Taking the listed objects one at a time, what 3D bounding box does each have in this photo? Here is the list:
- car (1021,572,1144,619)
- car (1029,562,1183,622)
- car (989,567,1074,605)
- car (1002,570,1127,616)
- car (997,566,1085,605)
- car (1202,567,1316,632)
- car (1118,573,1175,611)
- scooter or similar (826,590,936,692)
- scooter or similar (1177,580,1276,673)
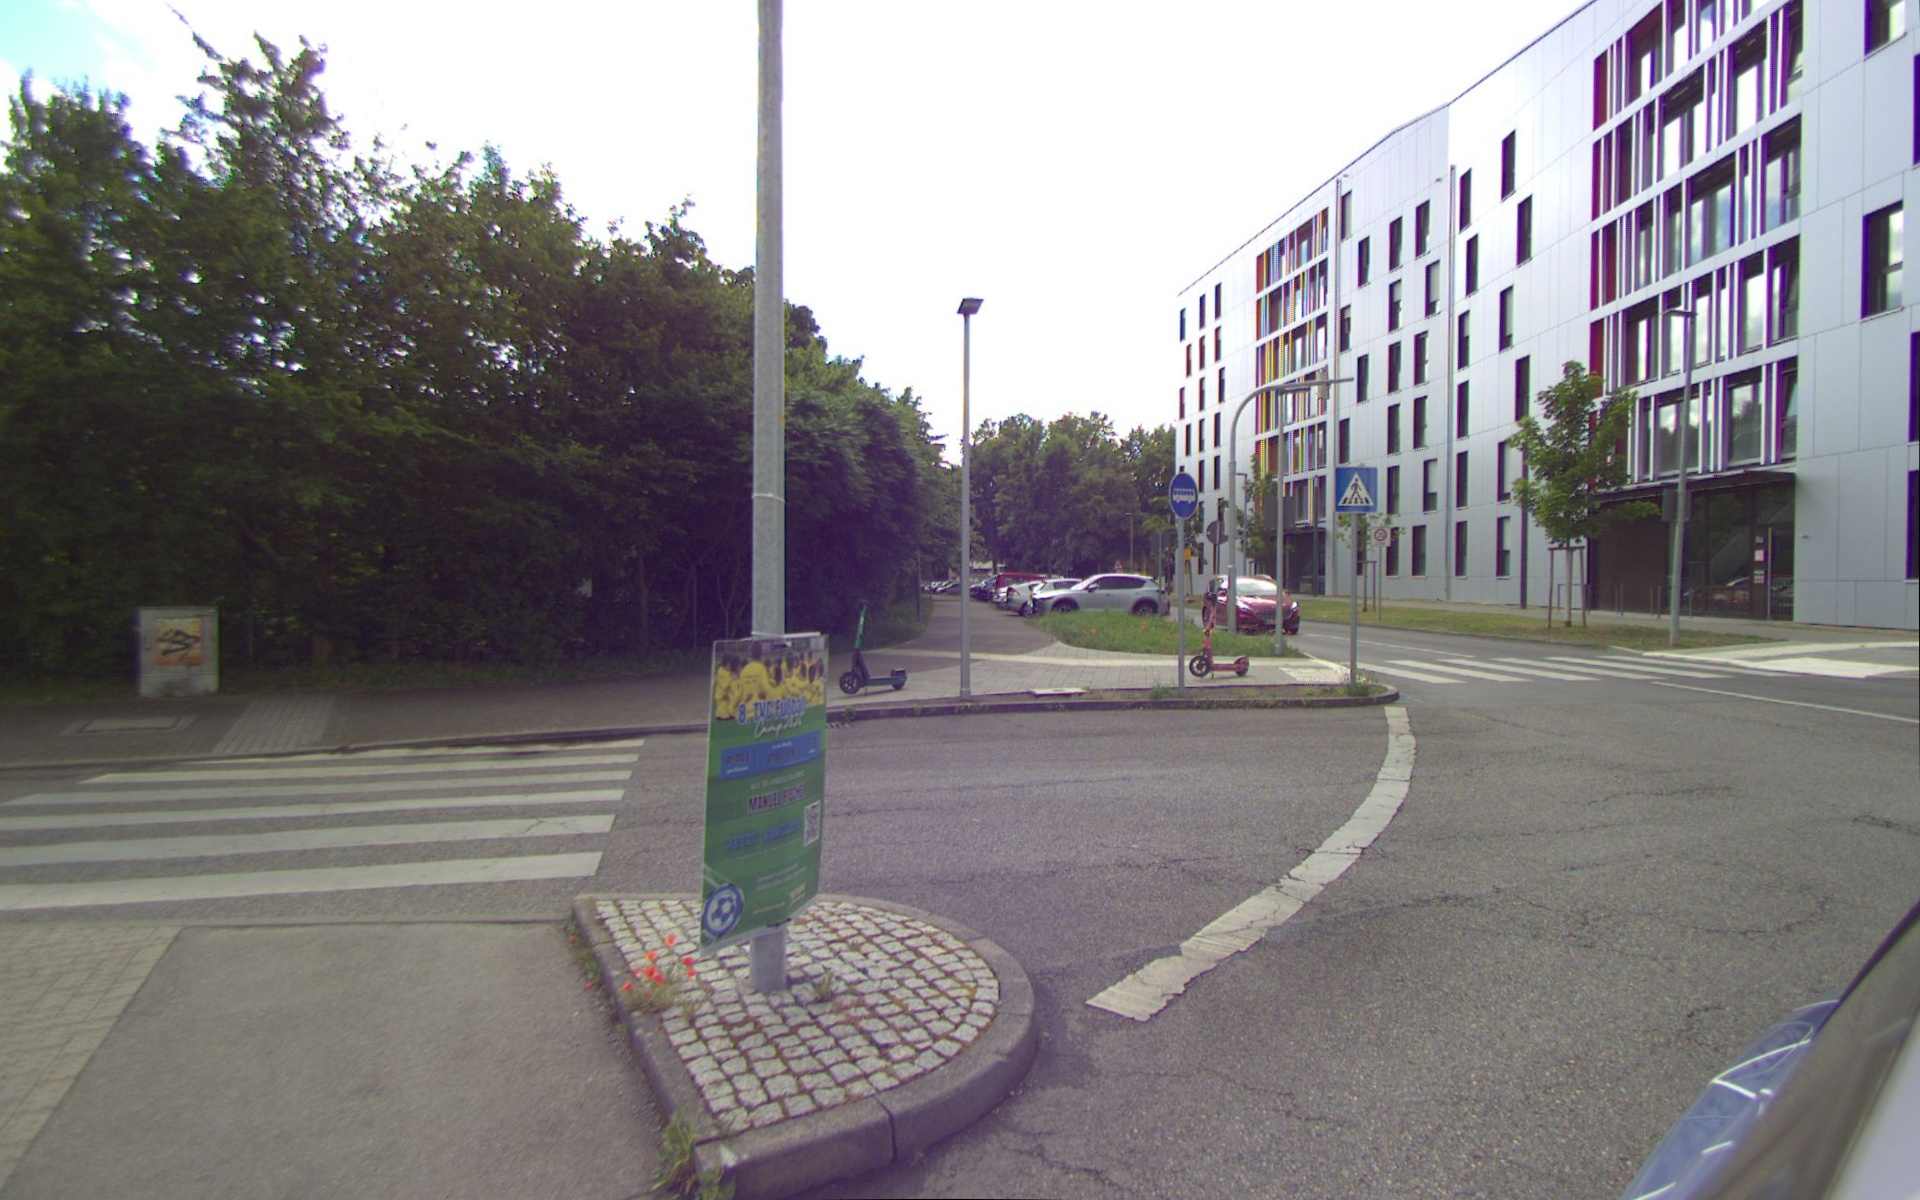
[{"bbox_3d":[4.300,-0.188,36.043,4.087,1.606,1.797,0,1,-2],"label":"car"},{"bbox_3d":[4.728,-0.269,33.242,4.570,1.774,2.072,2,1,-4],"label":"car"},{"bbox_3d":[3.943,-0.784,56.475,4.476,1.923,1.885,2,1,-2],"label":"car"},{"bbox_3d":[3.910,-0.272,38.416,4.404,1.582,1.913,1,1,-2],"label":"car"},{"bbox_3d":[4.061,-0.742,51.076,4.210,1.916,1.839,1,1,-2],"label":"car"},{"bbox_3d":[8.485,-0.074,29.141,1.897,1.651,4.244,-2,2,-1],"label":"car"},{"bbox_3d":[8.365,-0.398,45.621,1.784,1.638,4.001,-1,2,0],"label":"car"},{"bbox_3d":[-1.081,0.536,14.100,0.619,1.290,1.473,0,2,43],"label":"scooter or similar"},{"bbox_3d":[4.002,0.369,15.167,1.496,1.329,0.573,-1,1,-33],"label":"scooter or similar"}]
